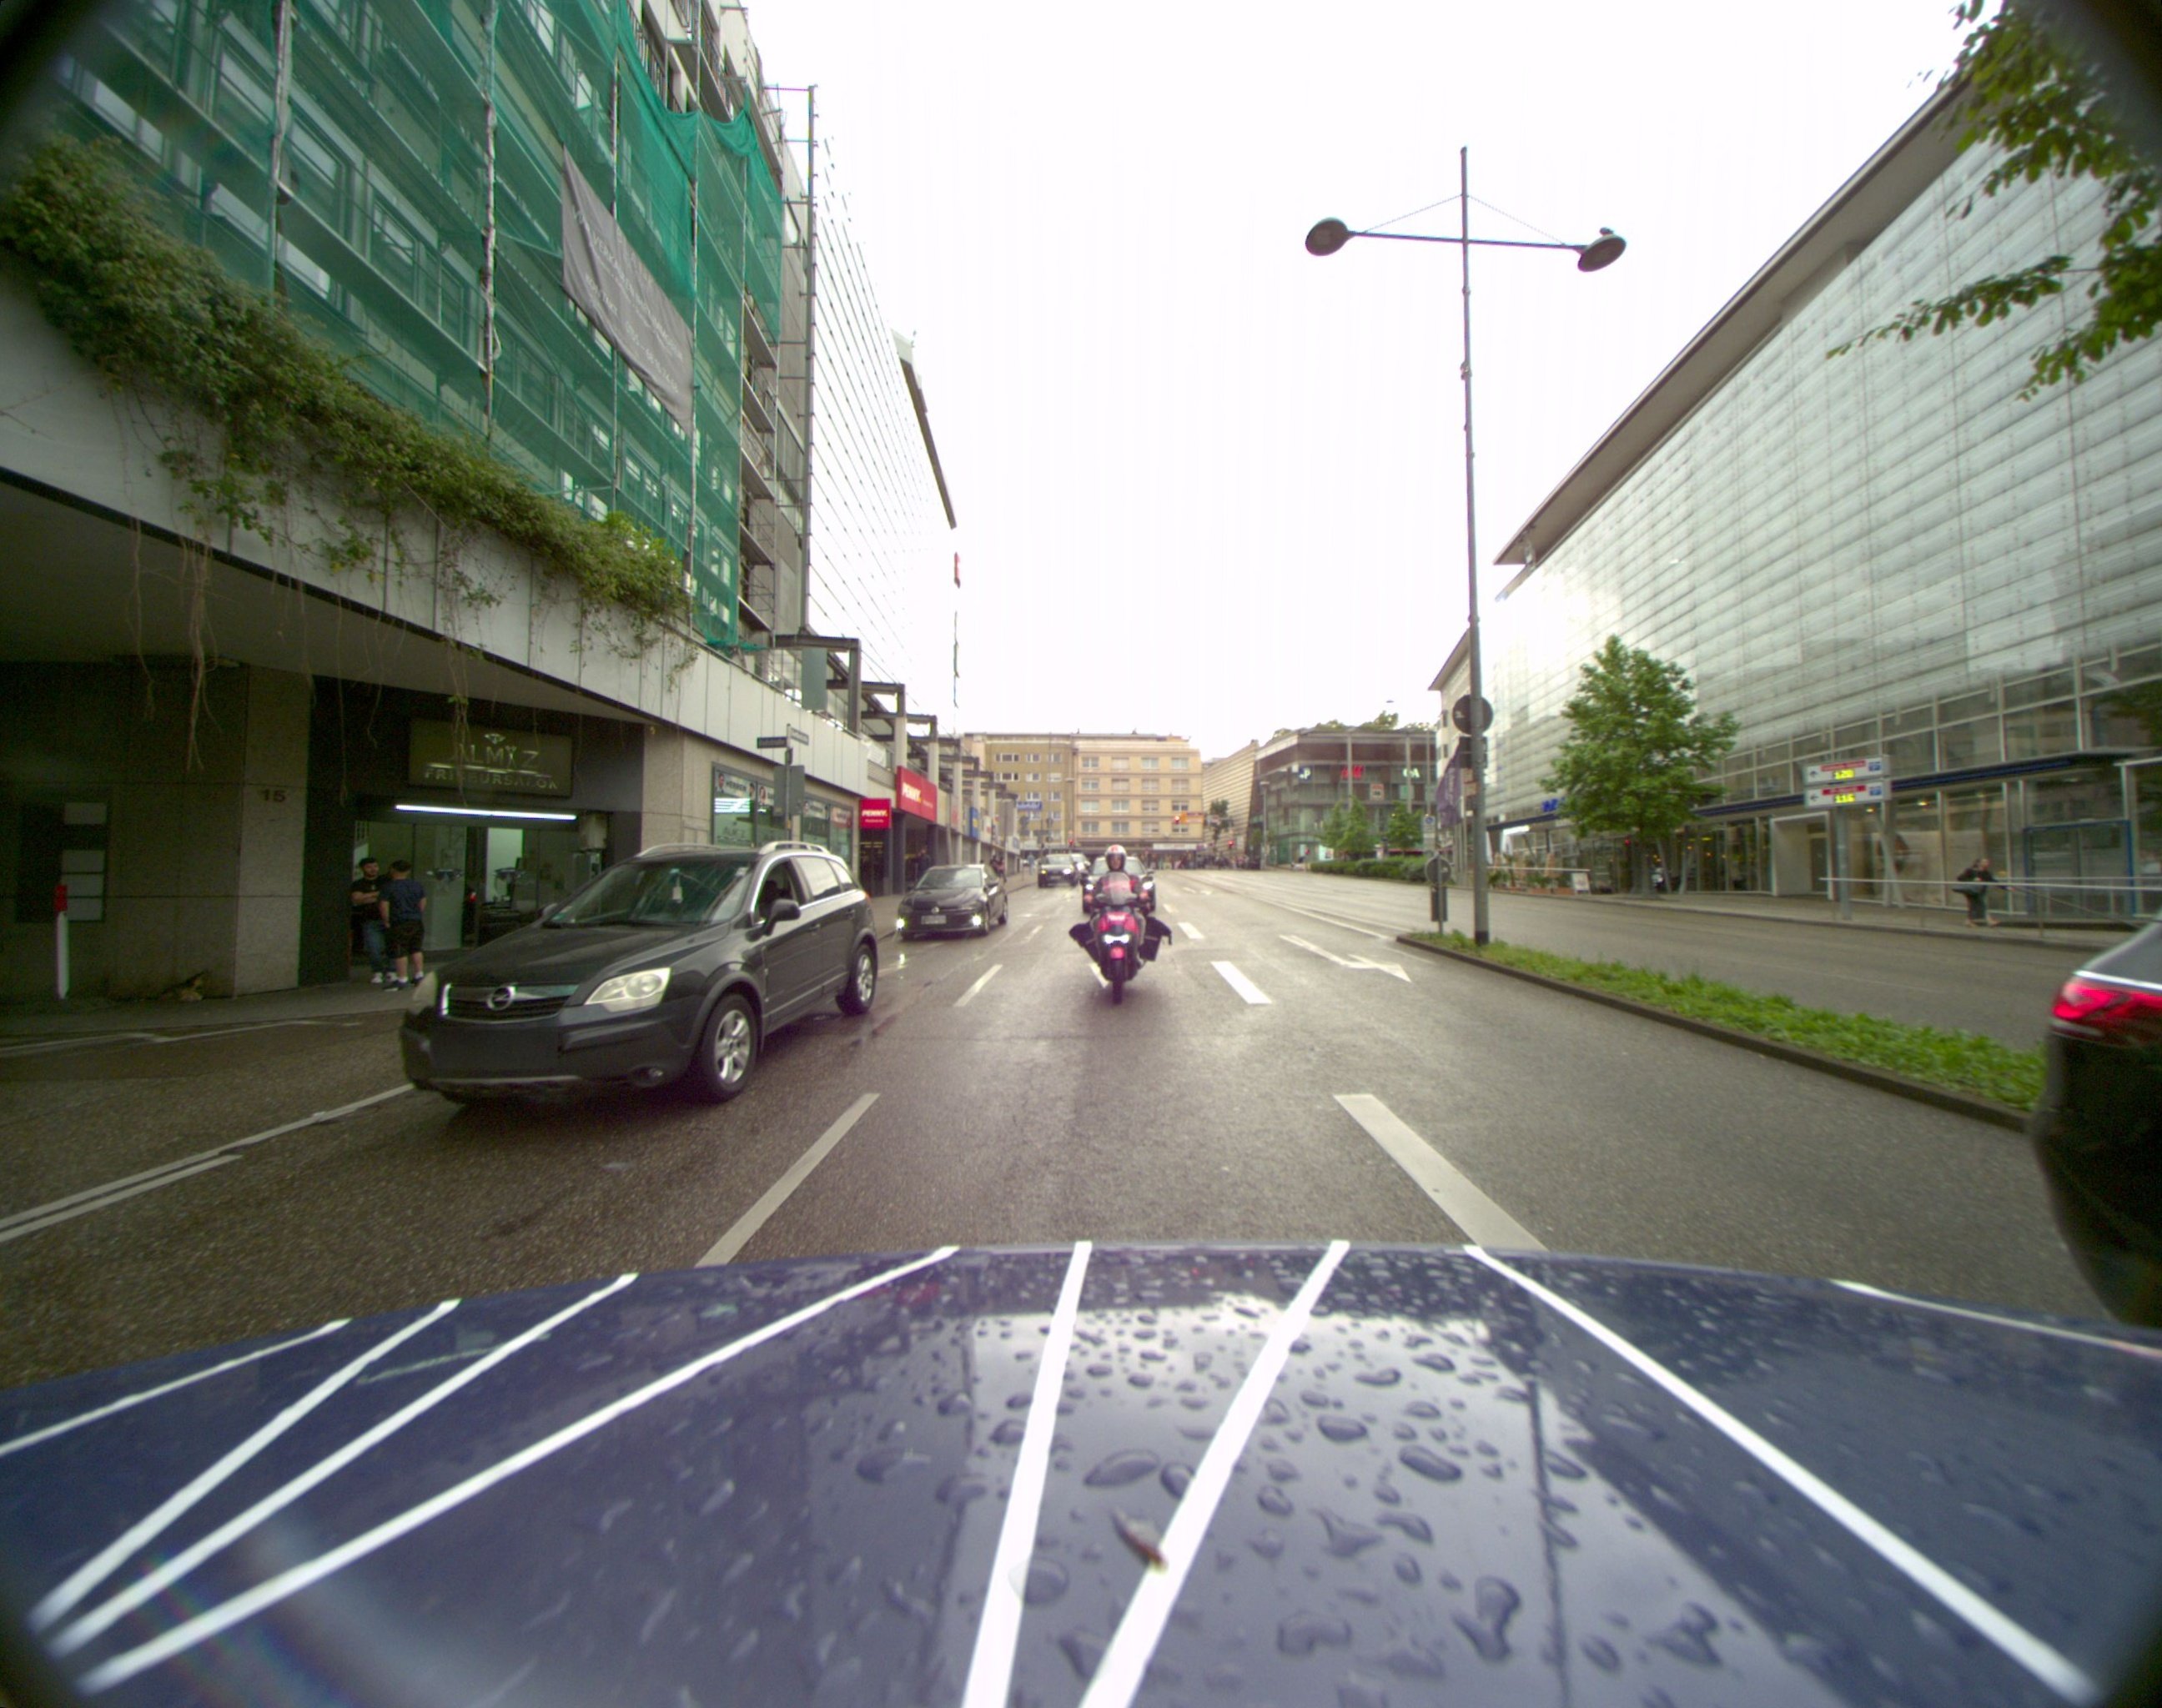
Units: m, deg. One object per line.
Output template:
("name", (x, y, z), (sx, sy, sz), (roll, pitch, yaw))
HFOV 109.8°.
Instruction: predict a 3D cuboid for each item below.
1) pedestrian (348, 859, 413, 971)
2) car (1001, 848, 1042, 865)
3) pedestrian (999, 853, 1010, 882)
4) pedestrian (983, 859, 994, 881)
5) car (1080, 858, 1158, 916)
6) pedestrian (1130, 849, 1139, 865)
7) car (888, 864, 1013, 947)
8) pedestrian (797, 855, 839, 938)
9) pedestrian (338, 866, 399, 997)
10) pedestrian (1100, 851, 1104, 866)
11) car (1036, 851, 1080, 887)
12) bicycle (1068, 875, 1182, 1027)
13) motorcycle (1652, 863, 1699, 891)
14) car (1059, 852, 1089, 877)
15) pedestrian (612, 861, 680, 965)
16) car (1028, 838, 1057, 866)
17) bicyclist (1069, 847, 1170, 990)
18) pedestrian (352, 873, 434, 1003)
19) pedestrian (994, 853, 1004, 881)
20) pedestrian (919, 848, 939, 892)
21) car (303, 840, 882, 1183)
("pedestrian", (-11.809, 0.987, 12.806), (0.771, 1.805, 0.745), (1, 1, 44))
("car", (-7.147, 0.287, 90.640), (4.590, 2.002, 1.997), (0, 1, -14))
("pedestrian", (-3.978, 0.710, 39.615), (0.510, 1.492, 0.579), (0, 2, -1))
("pedestrian", (-4.945, 0.835, 40.622), (0.510, 1.160, 0.579), (0, 2, -1))
("car", (1.035, 0.833, 21.159), (1.890, 1.391, 4.164), (-2, 0, 2))
("pedestrian", (5.960, 0.349, 84.702), (0.627, 1.764, 0.687), (-3, 2, -20))
("car", (-2.649, 0.995, 16.396), (1.759, 1.495, 4.165), (-2, -1, 2))
("pedestrian", (-5.290, 0.837, 15.298), (0.677, 1.618, 0.579), (0, 2, -6))
("pedestrian", (-9.657, 1.025, 10.295), (0.466, 1.698, 0.484), (-1, 2, 42))
("pedestrian", (2.284, 0.526, 83.383), (0.428, 1.620, 0.602), (0, 1, 4))
("car", (-1.084, 0.684, 37.886), (1.841, 1.598, 4.164), (-2, 0, 2))
("bicycle", (0.431, 0.965, 8.691), (1.034, 1.279, 2.948), (-2, 1, 0))
("motorcycle", (28.137, 1.087, 35.991), (1.707, 1.319, 0.620), (0, 1, 1))
("car", (-0.402, 0.684, 49.648), (1.675, 1.520, 4.165), (-2, -1, 2))
("pedestrian", (-7.189, 0.955, 12.583), (0.639, 1.633, 0.733), (-2, 2, -3))
("car", (-2.887, -0.153, 57.849), (1.605, 2.002, 3.401), (-2, 1, 7))
("bicyclist", (0.426, 0.710, 8.806), (1.063, 1.534, 0.825), (-2, 1, 0))
("pedestrian", (-8.988, 1.065, 9.951), (0.640, 1.586, 0.576), (-3, 2, -32))
("pedestrian", (-4.360, 0.693, 40.422), (0.510, 1.492, 0.579), (0, 2, -1))
("pedestrian", (-5.853, 0.597, 29.302), (0.578, 1.669, 0.511), (1, 2, 21))
("car", (-3.121, 0.859, 6.069), (1.764, 1.755, 4.165), (-2, -1, 2))
